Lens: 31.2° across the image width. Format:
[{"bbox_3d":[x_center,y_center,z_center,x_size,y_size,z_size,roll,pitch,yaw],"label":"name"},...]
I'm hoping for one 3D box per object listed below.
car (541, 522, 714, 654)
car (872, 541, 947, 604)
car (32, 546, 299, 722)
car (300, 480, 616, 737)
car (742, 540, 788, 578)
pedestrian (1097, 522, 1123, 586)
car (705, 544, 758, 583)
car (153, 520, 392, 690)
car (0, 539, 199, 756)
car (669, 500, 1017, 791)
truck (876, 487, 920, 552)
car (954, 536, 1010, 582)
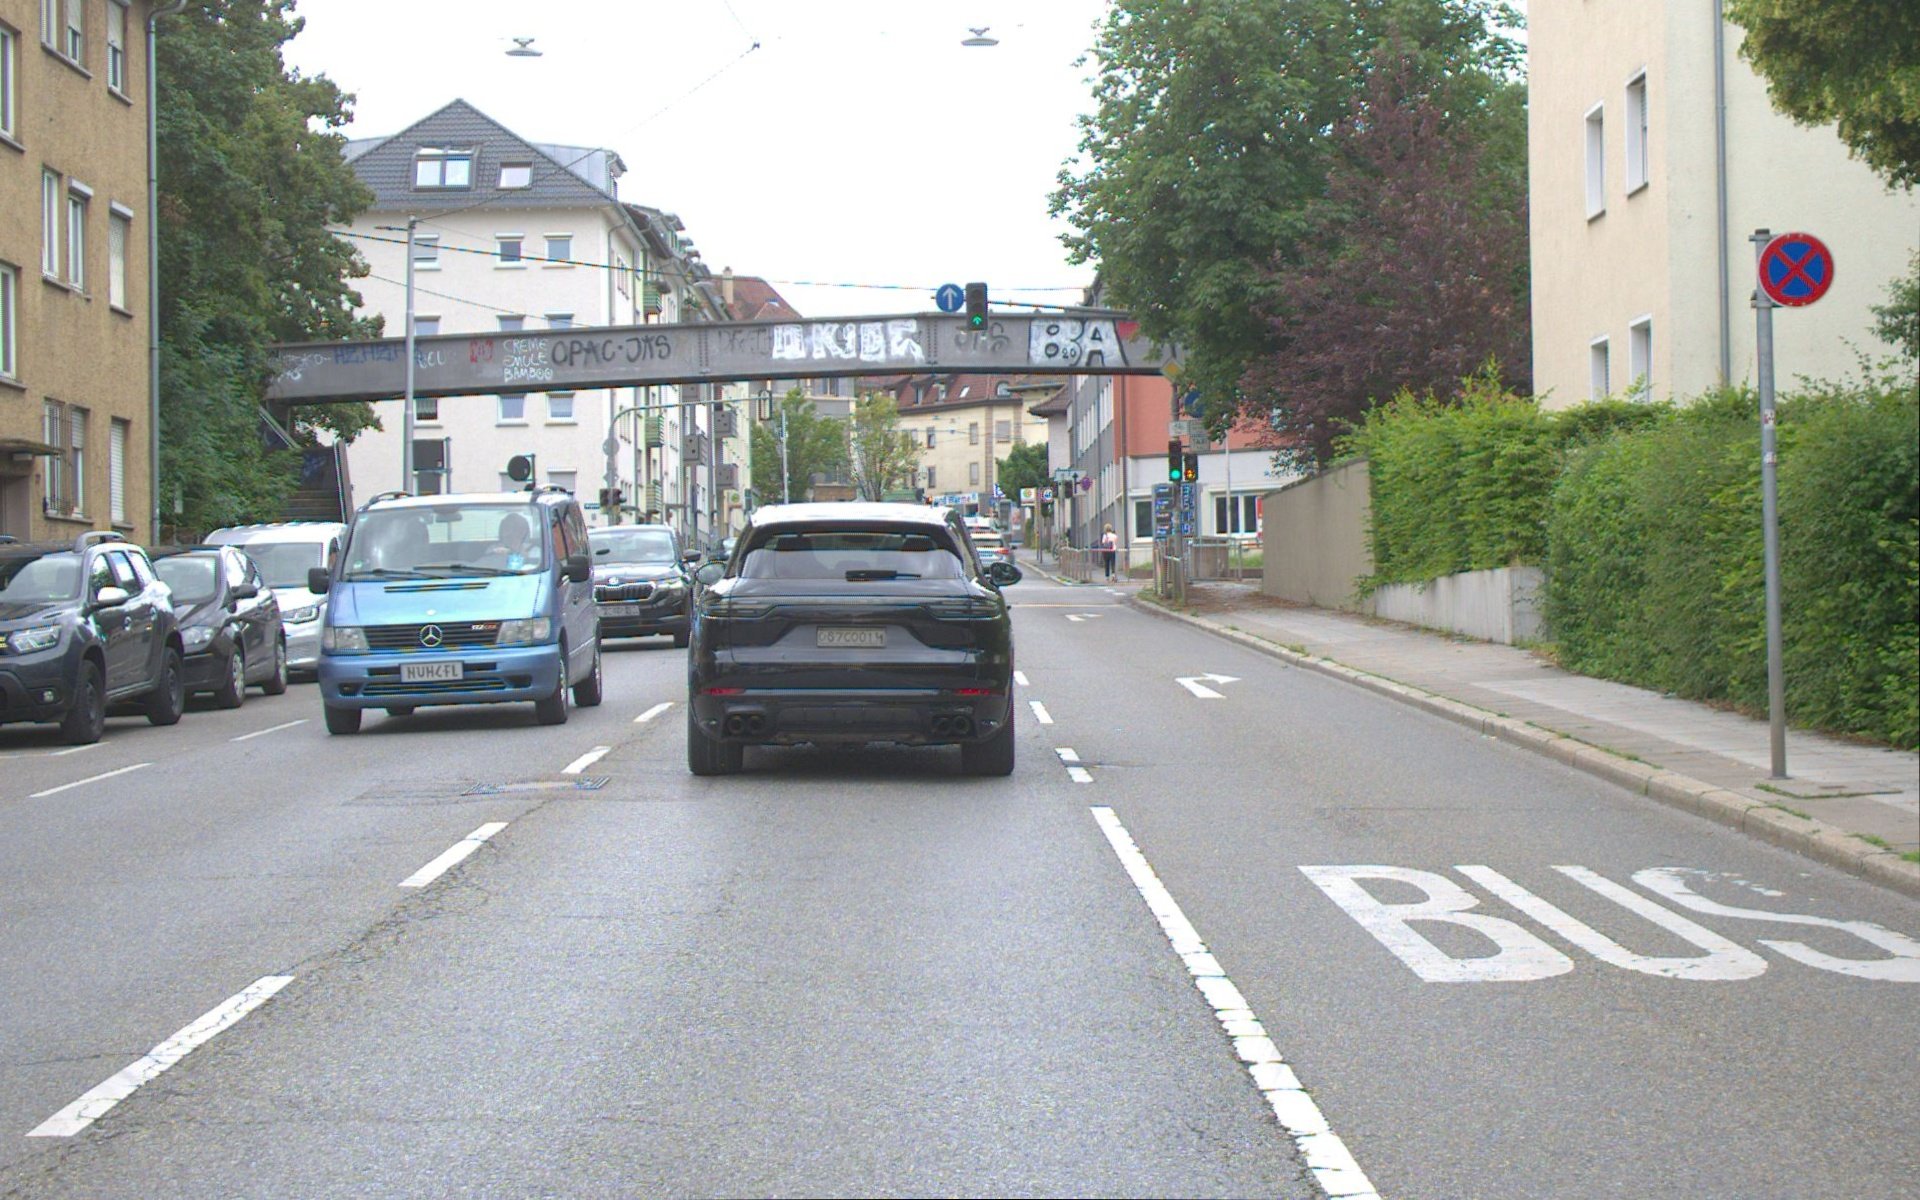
[{"bbox_3d":[-4.267,-0.186,44.694,1.840,1.585,4.164,-2,1,-1],"label":"car"},{"bbox_3d":[-1.181,-0.672,82.110,1.741,1.395,4.000,0,2,0],"label":"car"},{"bbox_3d":[-7.655,0.282,33.489,1.751,1.525,4.100,-2,1,-2],"label":"car"},{"bbox_3d":[-4.005,0.008,28.157,1.931,1.894,4.590,-1,1,-1],"label":"car"},{"bbox_3d":[-8.646,-1.821,152.419,1.765,1.644,4.000,-1,1,0],"label":"car"},{"bbox_3d":[4.247,-1.308,97.190,0.652,1.786,0.715,-1,1,-3],"label":"pedestrian"},{"bbox_3d":[-9.018,-1.461,135.941,1.765,1.503,4.000,-1,1,0],"label":"car"},{"bbox_3d":[-7.722,0.007,39.007,1.776,1.748,4.558,-2,1,-1],"label":"car"},{"bbox_3d":[-7.668,0.356,28.170,1.783,1.603,4.265,-3,1,1],"label":"car"},{"bbox_3d":[-0.684,0.206,21.872,1.993,1.656,4.000,0,2,0],"label":"car"},{"bbox_3d":[-3.370,-4.377,188.718,2.266,3.412,9.879,-1,1,-1],"label":"truck"},{"bbox_3d":[0.700,-1.350,111.651,1.741,1.395,4.000,0,2,0],"label":"car"}]
